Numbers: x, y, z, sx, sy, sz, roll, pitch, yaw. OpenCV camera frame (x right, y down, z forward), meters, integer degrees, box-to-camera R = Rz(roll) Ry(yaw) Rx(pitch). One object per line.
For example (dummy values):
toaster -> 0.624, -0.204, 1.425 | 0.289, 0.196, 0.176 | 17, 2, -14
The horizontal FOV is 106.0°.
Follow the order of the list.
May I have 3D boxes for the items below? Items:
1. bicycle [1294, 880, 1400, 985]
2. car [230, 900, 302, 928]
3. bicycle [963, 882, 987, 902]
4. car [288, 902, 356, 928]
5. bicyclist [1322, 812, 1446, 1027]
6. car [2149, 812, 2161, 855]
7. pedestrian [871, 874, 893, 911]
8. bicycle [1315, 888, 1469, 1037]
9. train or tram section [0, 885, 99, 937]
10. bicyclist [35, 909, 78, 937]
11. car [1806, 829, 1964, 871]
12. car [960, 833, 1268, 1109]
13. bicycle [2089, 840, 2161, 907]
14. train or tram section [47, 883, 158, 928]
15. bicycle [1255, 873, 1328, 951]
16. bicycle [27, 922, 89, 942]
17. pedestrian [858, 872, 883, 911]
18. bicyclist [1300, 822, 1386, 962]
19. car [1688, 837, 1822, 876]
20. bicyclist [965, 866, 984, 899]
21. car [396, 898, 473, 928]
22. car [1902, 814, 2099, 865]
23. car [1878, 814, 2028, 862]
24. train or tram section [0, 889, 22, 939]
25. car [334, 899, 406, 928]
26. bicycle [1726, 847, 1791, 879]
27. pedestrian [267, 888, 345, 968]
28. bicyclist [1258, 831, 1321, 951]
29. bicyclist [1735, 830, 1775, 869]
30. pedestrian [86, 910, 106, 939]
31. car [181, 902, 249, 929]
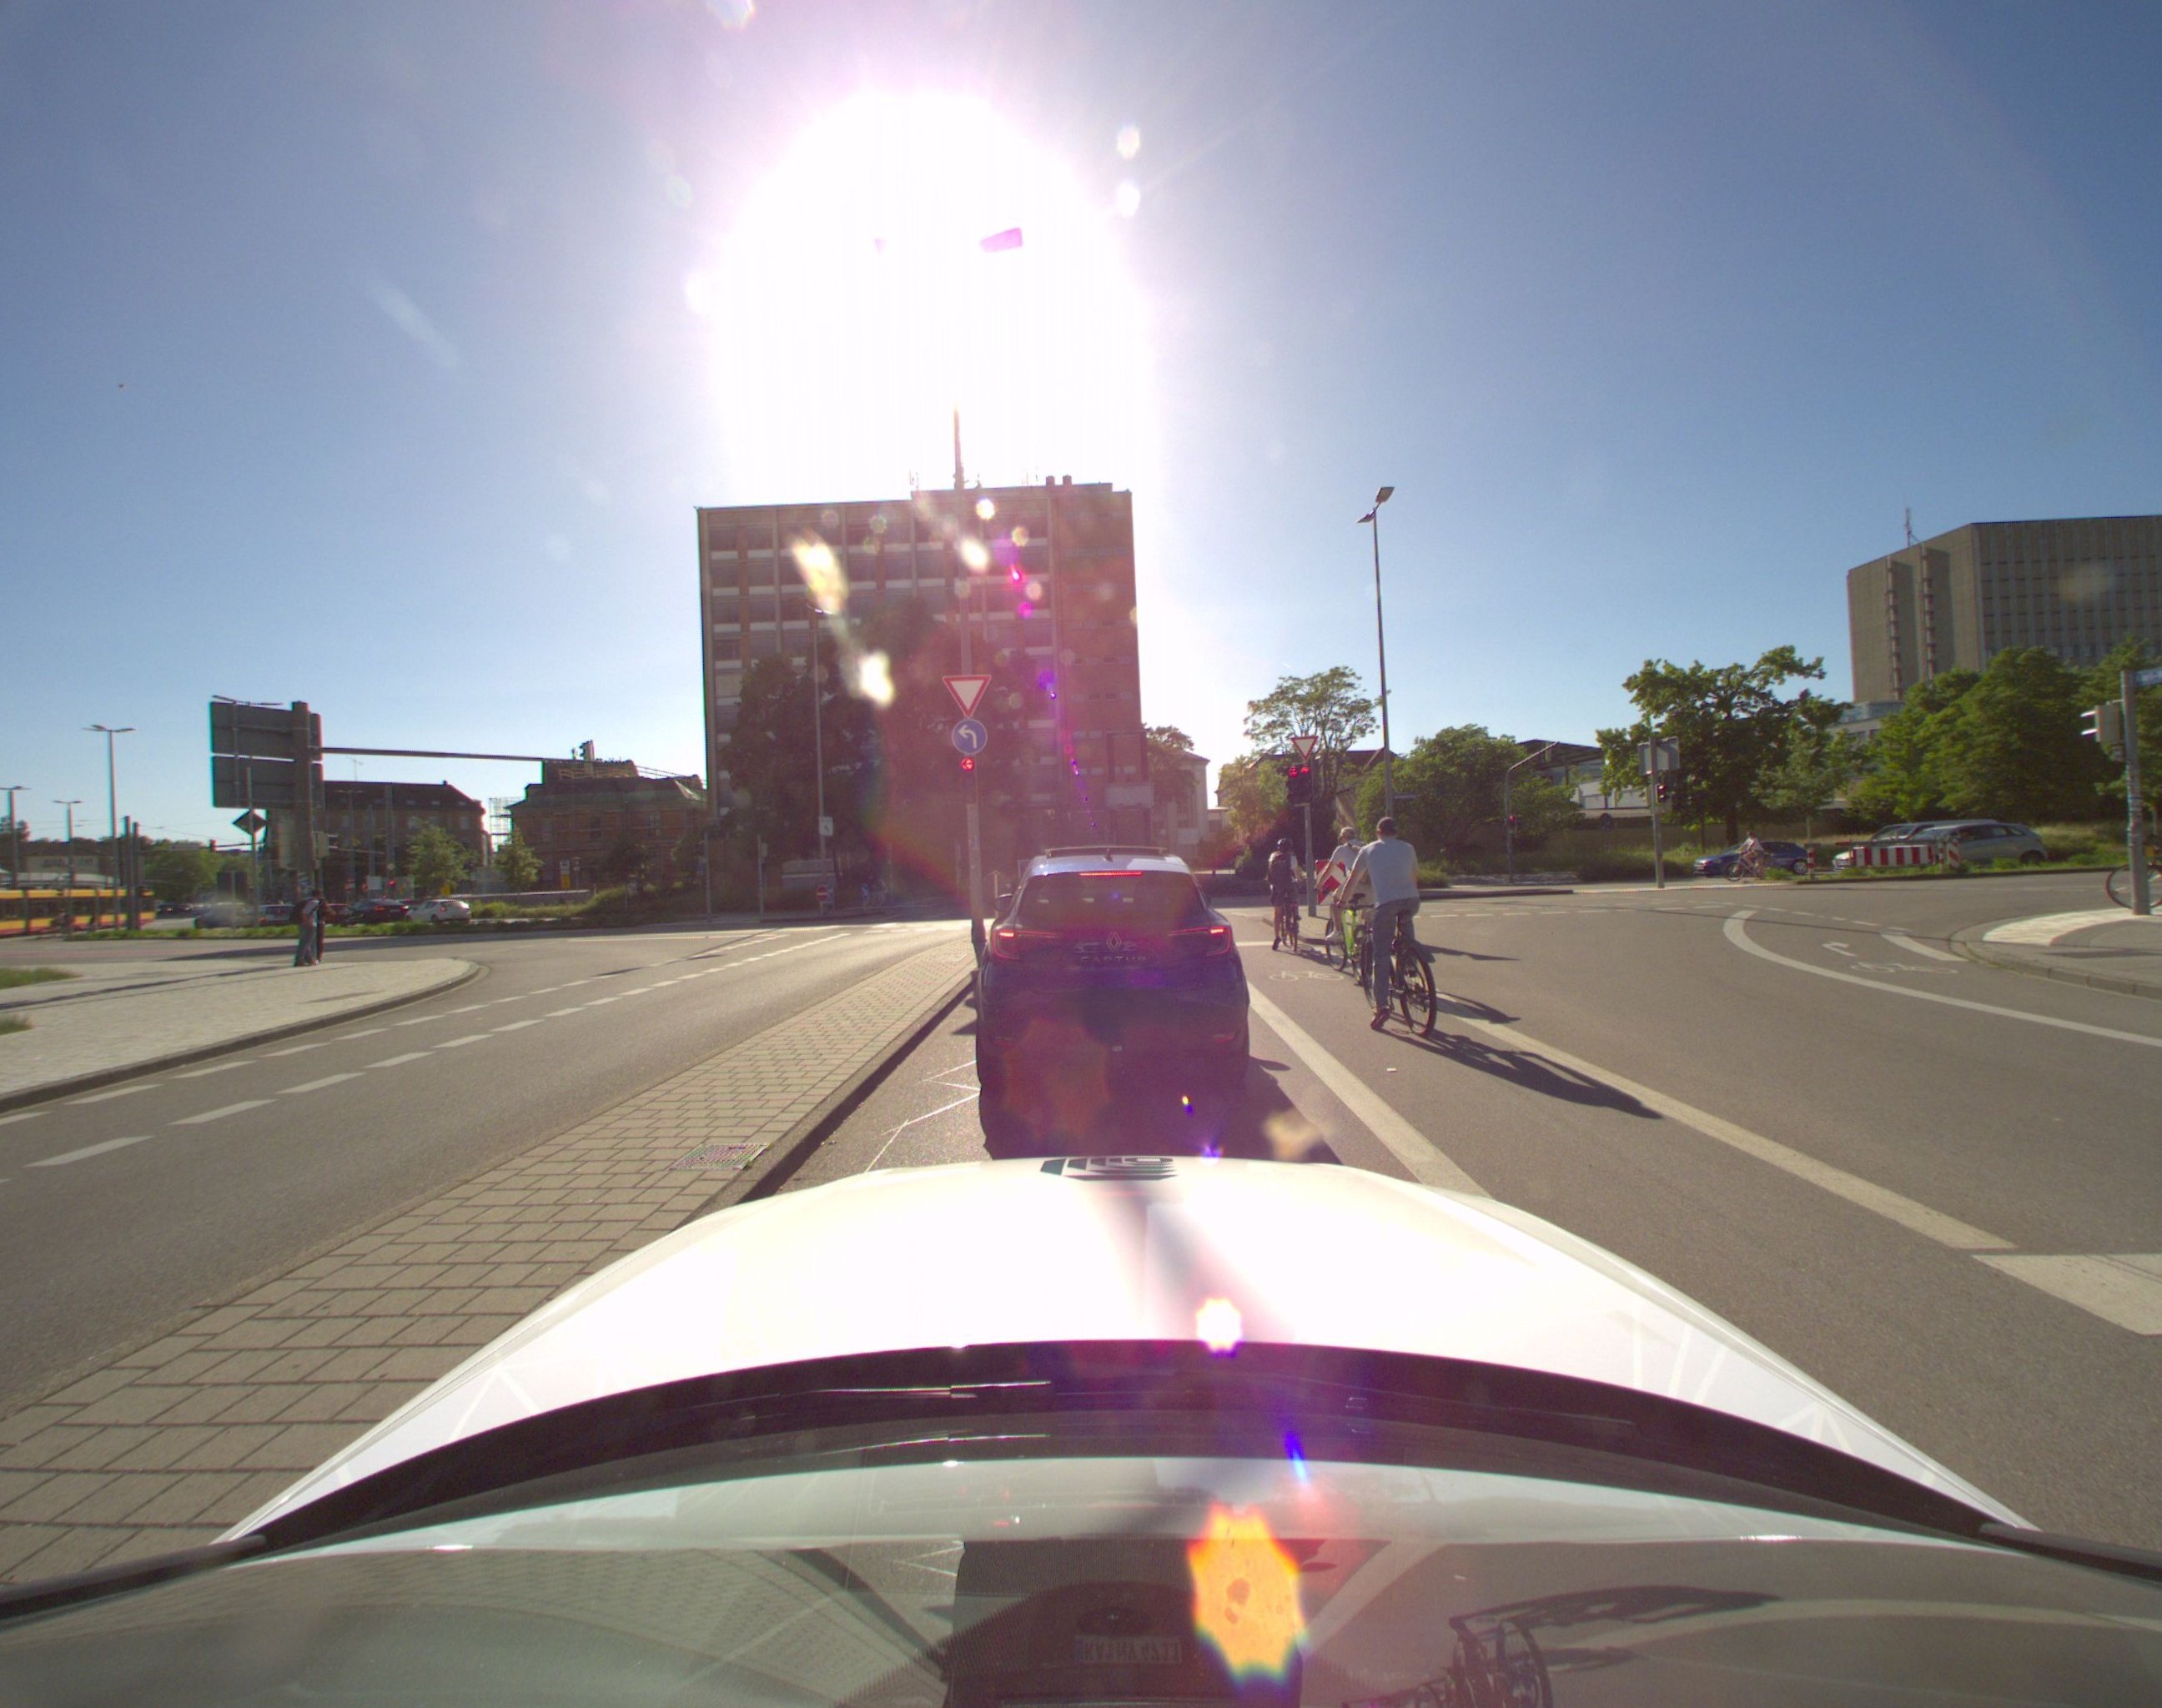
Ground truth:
bicycle -> 3.160, 0.888, 9.864 | 0.687, 1.089, 1.923 | -1, 0, 2
car -> -48.860, 3.598, 48.809 | 3.834, 1.508, 1.805 | -3, -1, 25
bicycle -> -5.724, 2.040, 44.173 | 0.751, 0.985, 2.098 | -2, 0, 8
car -> -48.203, 3.863, 51.714 | 3.834, 1.508, 1.805 | -3, -1, 25
bicyclist -> 2.709, 0.552, 7.401 | 0.680, 1.791, 1.142 | -1, -1, 2
car -> 36.903, -0.764, 25.330 | 4.534, 1.398, 1.798 | -2, -1, 7
pedestrian -> -9.629, 1.851, 39.455 | 0.675, 1.730, 0.764 | -3, -1, 15
bicycle -> 2.723, 0.896, 7.375 | 0.687, 1.089, 1.923 | -1, 0, 2
train or tram section -> -76.929, 4.079, 59.916 | 2.710, 3.232, 10.495 | 0, -1, -31
bicyclist -> -66.016, 4.445, 52.491 | 1.585, 1.634, 0.800 | 0, -1, -43
car -> 30.299, -0.137, 30.792 | 3.965, 1.398, 1.798 | -2, -1, 7
car -> 0.199, 0.702, 6.768 | 1.783, 1.585, 3.913 | -1, 0, 0
bicycle -> 15.916, 0.266, 11.626 | 0.640, 0.958, 1.866 | -2, -1, -39
train or tram section -> -82.408, 4.192, 68.880 | 2.710, 3.232, 10.495 | 0, -1, -31
bicycle -> 3.262, 0.863, 12.797 | 0.687, 1.089, 1.923 | -1, 0, 2
bicycle -> -65.952, 5.018, 52.536 | 2.433, 1.062, 0.800 | 0, -1, -44
pedestrian -> -10.340, 1.825, 40.032 | 0.807, 1.862, 0.913 | -3, -1, 15
bicyclist -> 3.156, 0.438, 9.905 | 0.676, 1.594, 1.142 | -1, -1, 1
car -> 28.138, 0.104, 34.106 | 3.965, 1.398, 1.798 | -2, -1, 7
bicyclist -> -5.760, 1.522, 44.073 | 0.751, 1.716, 1.001 | -2, -1, 7
car -> -36.391, 3.331, 45.839 | 3.834, 1.508, 1.805 | -3, -1, 25
car -> 29.223, -0.435, 26.001 | 3.965, 1.398, 1.798 | -2, -1, 7
car -> 35.874, -0.619, 33.606 | 3.965, 1.749, 1.798 | -2, -1, 7
train or tram section -> -71.441, 3.967, 50.964 | 2.710, 3.232, 10.495 | 0, -1, -31
car -> -42.547, 3.557, 48.744 | 3.834, 1.508, 1.805 | -3, -1, 25
bicycle -> 24.142, 0.320, 29.035 | 1.673, 1.033, 0.612 | -2, -1, 7
pedestrian -> -17.756, 1.674, 18.677 | 0.647, 1.730, 1.066 | -3, -1, 15
bicyclist -> 3.248, 0.556, 12.775 | 0.697, 1.791, 1.142 | -1, -1, 2
bicyclist -> 24.038, -0.162, 29.051 | 0.870, 1.343, 0.612 | -2, -1, 7
pedestrian -> -62.792, 4.503, 51.919 | 0.697, 1.762, 0.781 | -3, -1, 42
car -> -54.909, 3.885, 51.642 | 3.834, 1.508, 1.805 | -3, -1, 25
